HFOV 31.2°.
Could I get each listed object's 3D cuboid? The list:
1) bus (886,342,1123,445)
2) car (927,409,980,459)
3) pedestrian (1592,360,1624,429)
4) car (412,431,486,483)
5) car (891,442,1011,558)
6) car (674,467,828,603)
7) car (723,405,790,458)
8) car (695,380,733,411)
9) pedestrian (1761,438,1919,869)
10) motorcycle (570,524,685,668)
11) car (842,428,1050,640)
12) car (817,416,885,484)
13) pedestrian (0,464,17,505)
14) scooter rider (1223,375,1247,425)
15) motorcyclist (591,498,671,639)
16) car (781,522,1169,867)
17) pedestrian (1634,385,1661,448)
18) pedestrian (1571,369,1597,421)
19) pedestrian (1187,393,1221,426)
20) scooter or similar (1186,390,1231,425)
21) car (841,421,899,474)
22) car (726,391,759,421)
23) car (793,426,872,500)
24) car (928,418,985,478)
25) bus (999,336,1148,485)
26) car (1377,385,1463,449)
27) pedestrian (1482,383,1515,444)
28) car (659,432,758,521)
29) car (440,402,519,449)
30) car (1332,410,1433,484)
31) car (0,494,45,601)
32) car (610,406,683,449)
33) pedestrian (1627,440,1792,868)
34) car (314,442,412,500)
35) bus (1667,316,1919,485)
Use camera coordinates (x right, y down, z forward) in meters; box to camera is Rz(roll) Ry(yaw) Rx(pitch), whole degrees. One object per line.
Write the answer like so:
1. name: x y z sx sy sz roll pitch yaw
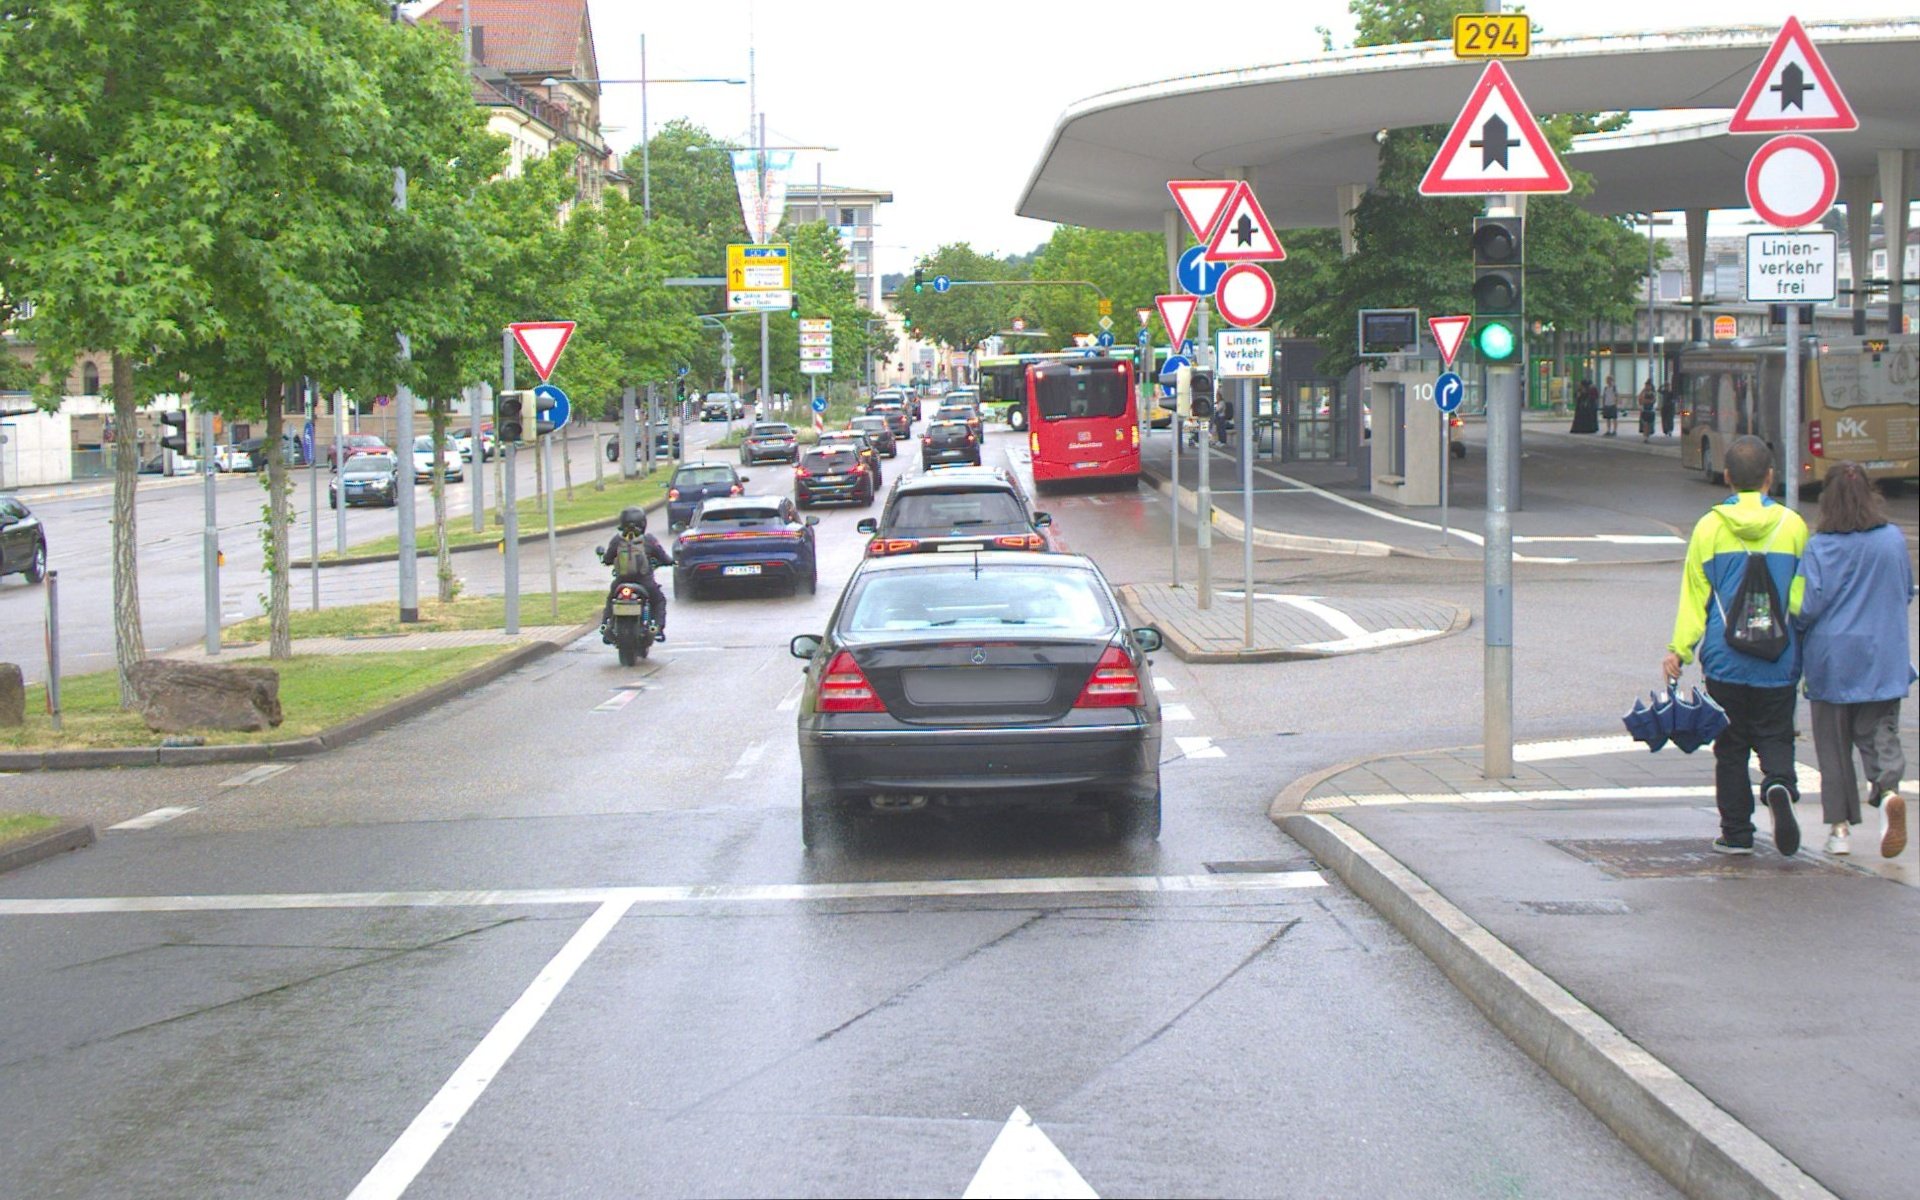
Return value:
1. bus: 1.712 -8.558 143.377 2.839 3.973 11.860 -5 5 -39
2. car: -0.244 -6.098 126.684 1.865 1.678 4.000 1 1 -1
3. pedestrian: 19.177 -6.074 101.752 0.724 2.007 0.669 2 0 26
4. car: -17.701 -4.978 119.184 1.847 1.646 4.420 -2 4 0
5. car: -0.140 -1.625 54.806 1.741 1.561 3.872 -4 4 0
6. car: -2.914 -0.965 48.823 1.816 1.565 4.405 -4 4 0
7. car: -6.921 -5.709 116.712 1.865 1.678 4.001 1 1 -9
8. car: -13.732 -11.407 191.997 1.780 1.561 3.431 -4 4 0
9. pedestrian: 3.557 0.212 13.645 0.589 1.665 0.580 1 -1 -1
10. motorcycle: -3.311 -0.058 34.385 0.793 1.257 1.855 -3 4 4
11. car: -0.143 -0.775 36.795 1.957 1.869 4.875 -4 4 0
12. car: -2.845 -3.970 90.555 1.575 1.561 3.872 -4 4 0
13. pedestrian: -30.925 -3.718 110.357 0.977 1.263 0.849 3 5 21
14. scooter rider: 8.397 -6.112 104.918 0.592 1.484 0.764 -1 3 14
15. motorcyclist: -3.299 -0.321 34.518 0.641 1.342 0.689 -2 4 4
16. car: 0.051 0.368 17.269 1.697 1.457 4.304 0 2 0
17. pedestrian: 18.722 -5.007 93.582 0.560 1.686 0.614 -1 4 -7
18. pedestrian: 19.085 -6.269 105.128 0.580 1.573 0.560 2 0 30
19. pedestrian: 7.440 -5.811 104.834 0.914 0.981 0.633 0 0 14
20. scooter or similar: 7.597 -5.886 105.132 1.243 1.009 0.764 -1 3 14
21. car: -3.029 -5.163 116.874 1.865 1.678 4.000 1 1 -1
22. car: -12.494 -11.155 197.618 1.575 1.561 3.431 -4 4 0
23. car: -2.978 -3.258 81.106 1.575 1.499 3.872 -4 4 1
24. car: -0.104 -4.541 102.258 1.575 1.561 3.872 -4 4 0
25. bus: 2.680 -4.761 84.658 3.286 3.280 10.880 -3 4 1
26. car: 12.608 -5.050 94.359 1.711 1.656 4.241 -1 4 -1
27. pedestrian: 14.313 -4.960 91.376 0.598 1.576 0.712 -3 2 -9
28. car: -5.237 -2.605 71.859 1.676 1.617 3.872 -4 4 0
29. car: -19.887 -7.195 142.206 1.642 1.798 3.639 2 1 -37
30. car: 9.056 -3.302 73.832 1.647 1.448 3.239 -2 4 -2
31. car: -17.610 -0.901 60.578 1.908 1.656 4.860 -2 5 -4
32. car: -11.985 -6.591 131.341 1.727 1.555 3.769 -2 2 -22
33. pedestrian: 2.978 0.206 13.692 0.522 1.664 0.580 0 1 -1
34. car: -17.296 -3.770 99.784 1.847 1.499 4.920 -2 4 1
35. bus: 16.975 -4.114 69.564 2.721 3.032 12.092 -3 4 0
